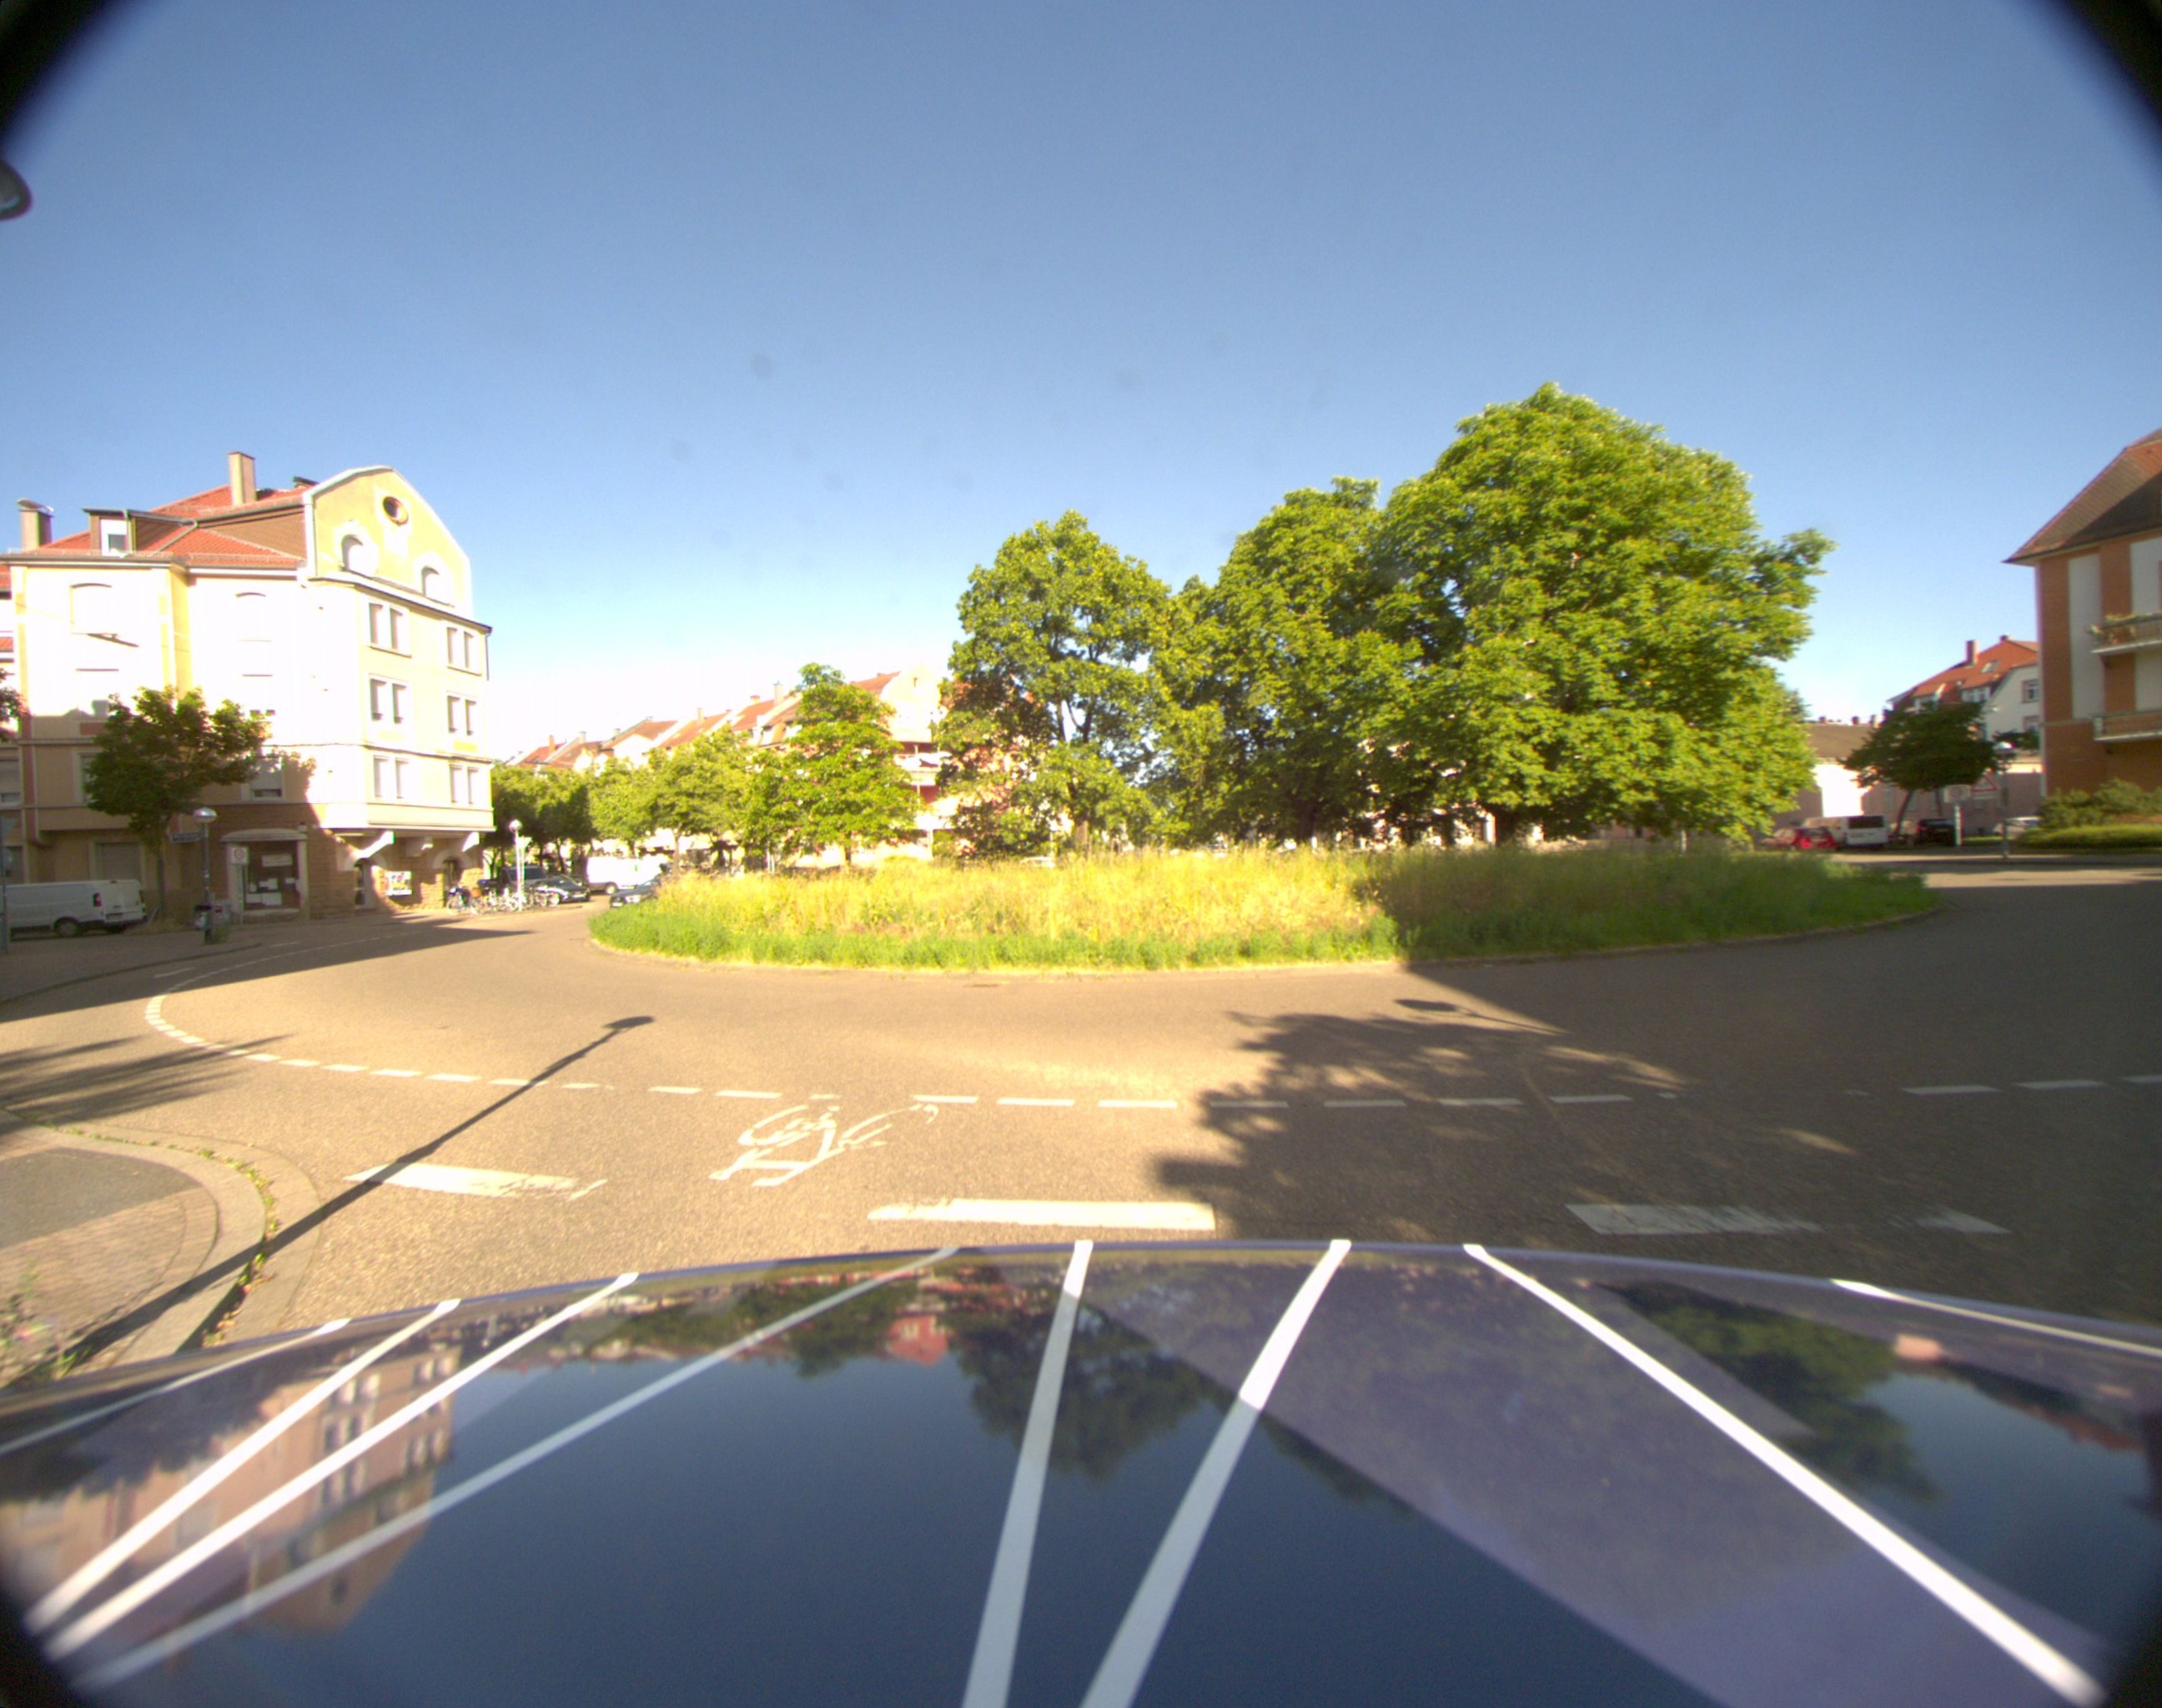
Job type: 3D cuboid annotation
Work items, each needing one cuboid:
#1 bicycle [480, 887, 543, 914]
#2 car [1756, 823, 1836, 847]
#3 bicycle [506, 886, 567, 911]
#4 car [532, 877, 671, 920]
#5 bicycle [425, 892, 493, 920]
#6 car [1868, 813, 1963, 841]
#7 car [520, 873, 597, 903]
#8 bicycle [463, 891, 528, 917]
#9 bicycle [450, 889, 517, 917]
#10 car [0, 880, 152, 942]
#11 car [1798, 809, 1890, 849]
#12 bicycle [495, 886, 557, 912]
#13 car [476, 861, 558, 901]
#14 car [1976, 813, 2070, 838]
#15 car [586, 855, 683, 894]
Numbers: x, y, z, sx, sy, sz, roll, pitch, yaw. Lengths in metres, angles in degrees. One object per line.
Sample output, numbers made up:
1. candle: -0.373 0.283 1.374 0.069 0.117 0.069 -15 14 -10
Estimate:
1. bicycle: -24.783 2.009 33.076 2.364 1.046 0.654 -2 0 6
2. car: 38.676 -1.006 41.234 1.765 1.171 4.005 -2 0 21
3. bicycle: -24.742 2.013 34.522 2.364 1.046 0.654 -2 1 6
4. car: -19.422 1.748 31.019 1.843 1.400 4.414 0 1 28
5. bicycle: -25.140 2.084 30.718 2.364 1.046 0.655 -2 -2 6
6. car: 47.264 -1.492 43.155 1.741 1.471 4.004 -2 0 15
7. car: -28.316 1.835 41.188 3.989 1.434 2.004 -2 0 33
8. bicycle: -24.899 2.119 32.346 2.364 1.009 0.654 -2 0 6
9. bicycle: -24.871 2.025 31.626 2.364 1.046 0.654 -2 1 6
10. car: -36.478 2.019 26.722 4.451 1.930 1.895 -2 1 -15
11. car: 41.450 -1.326 41.403 1.996 2.002 4.005 -2 0 20
12. bicycle: -24.672 1.997 33.771 2.364 1.046 0.654 -2 1 6
13. car: -32.731 1.573 44.034 4.788 2.107 2.258 -2 1 34
14. car: 60.005 -1.780 48.503 1.741 1.471 4.004 -2 0 15
15. car: -30.266 1.338 51.696 5.195 2.348 2.035 -2 1 -15
